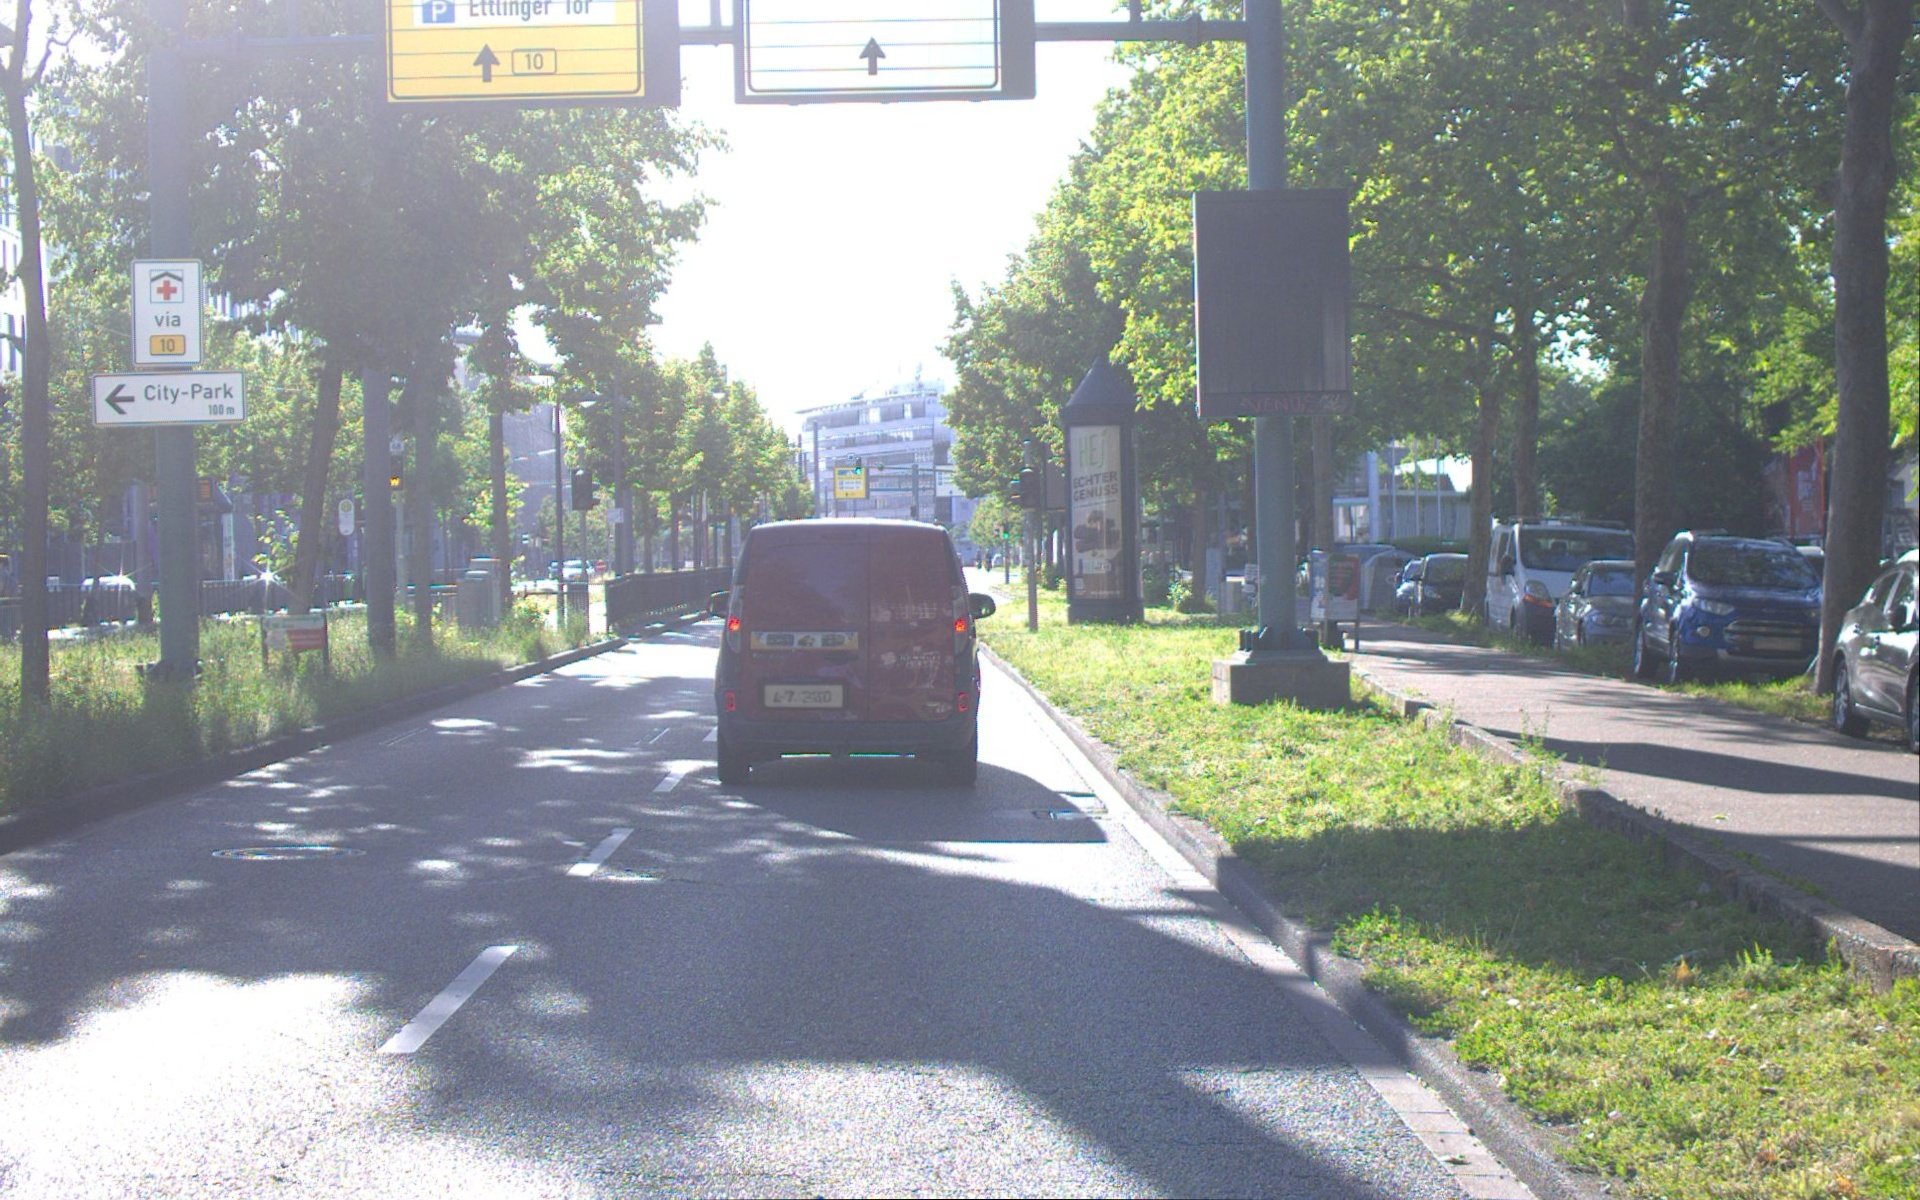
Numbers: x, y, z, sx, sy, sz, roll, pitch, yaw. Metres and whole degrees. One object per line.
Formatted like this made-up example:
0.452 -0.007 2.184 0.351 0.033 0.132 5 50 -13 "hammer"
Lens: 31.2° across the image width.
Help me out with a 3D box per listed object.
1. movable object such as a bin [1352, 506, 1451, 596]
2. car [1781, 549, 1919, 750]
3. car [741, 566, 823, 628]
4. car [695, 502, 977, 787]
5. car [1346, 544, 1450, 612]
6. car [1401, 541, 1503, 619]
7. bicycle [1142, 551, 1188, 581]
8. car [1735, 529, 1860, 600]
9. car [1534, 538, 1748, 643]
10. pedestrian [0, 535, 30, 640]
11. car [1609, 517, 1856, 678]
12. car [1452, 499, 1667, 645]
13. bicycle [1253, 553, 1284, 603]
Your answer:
10.153 -1.119 79.159 2.081 2.007 2.136 1 0 3 "movable object such as a bin"
7.666 0.340 25.893 1.994 1.377 4.677 1 1 2 "car"
-4.709 -0.090 91.376 1.993 1.612 4.000 1 0 -1 "car"
-0.934 0.277 24.280 1.808 1.831 4.001 1 0 -4 "car"
9.347 -0.472 73.660 2.000 1.380 4.744 1 0 5 "car"
9.742 -0.399 68.243 1.662 1.495 2.989 1 0 2 "car"
8.789 -1.460 147.236 1.918 1.264 0.479 0 1 1 "bicycle"
19.865 -0.841 81.731 1.993 1.634 4.000 1 0 0 "car"
8.813 -0.134 44.818 1.993 1.285 4.053 1 0 0 "car"
-16.872 -0.220 60.497 0.820 1.829 0.726 1 0 -3 "pedestrian"
8.361 -0.042 37.555 1.736 1.636 4.353 1 0 0 "car"
8.801 -0.411 50.983 2.190 2.007 5.820 1 0 0 "car"
6.518 -0.466 72.720 0.493 1.043 1.904 1 0 1 "bicycle"
